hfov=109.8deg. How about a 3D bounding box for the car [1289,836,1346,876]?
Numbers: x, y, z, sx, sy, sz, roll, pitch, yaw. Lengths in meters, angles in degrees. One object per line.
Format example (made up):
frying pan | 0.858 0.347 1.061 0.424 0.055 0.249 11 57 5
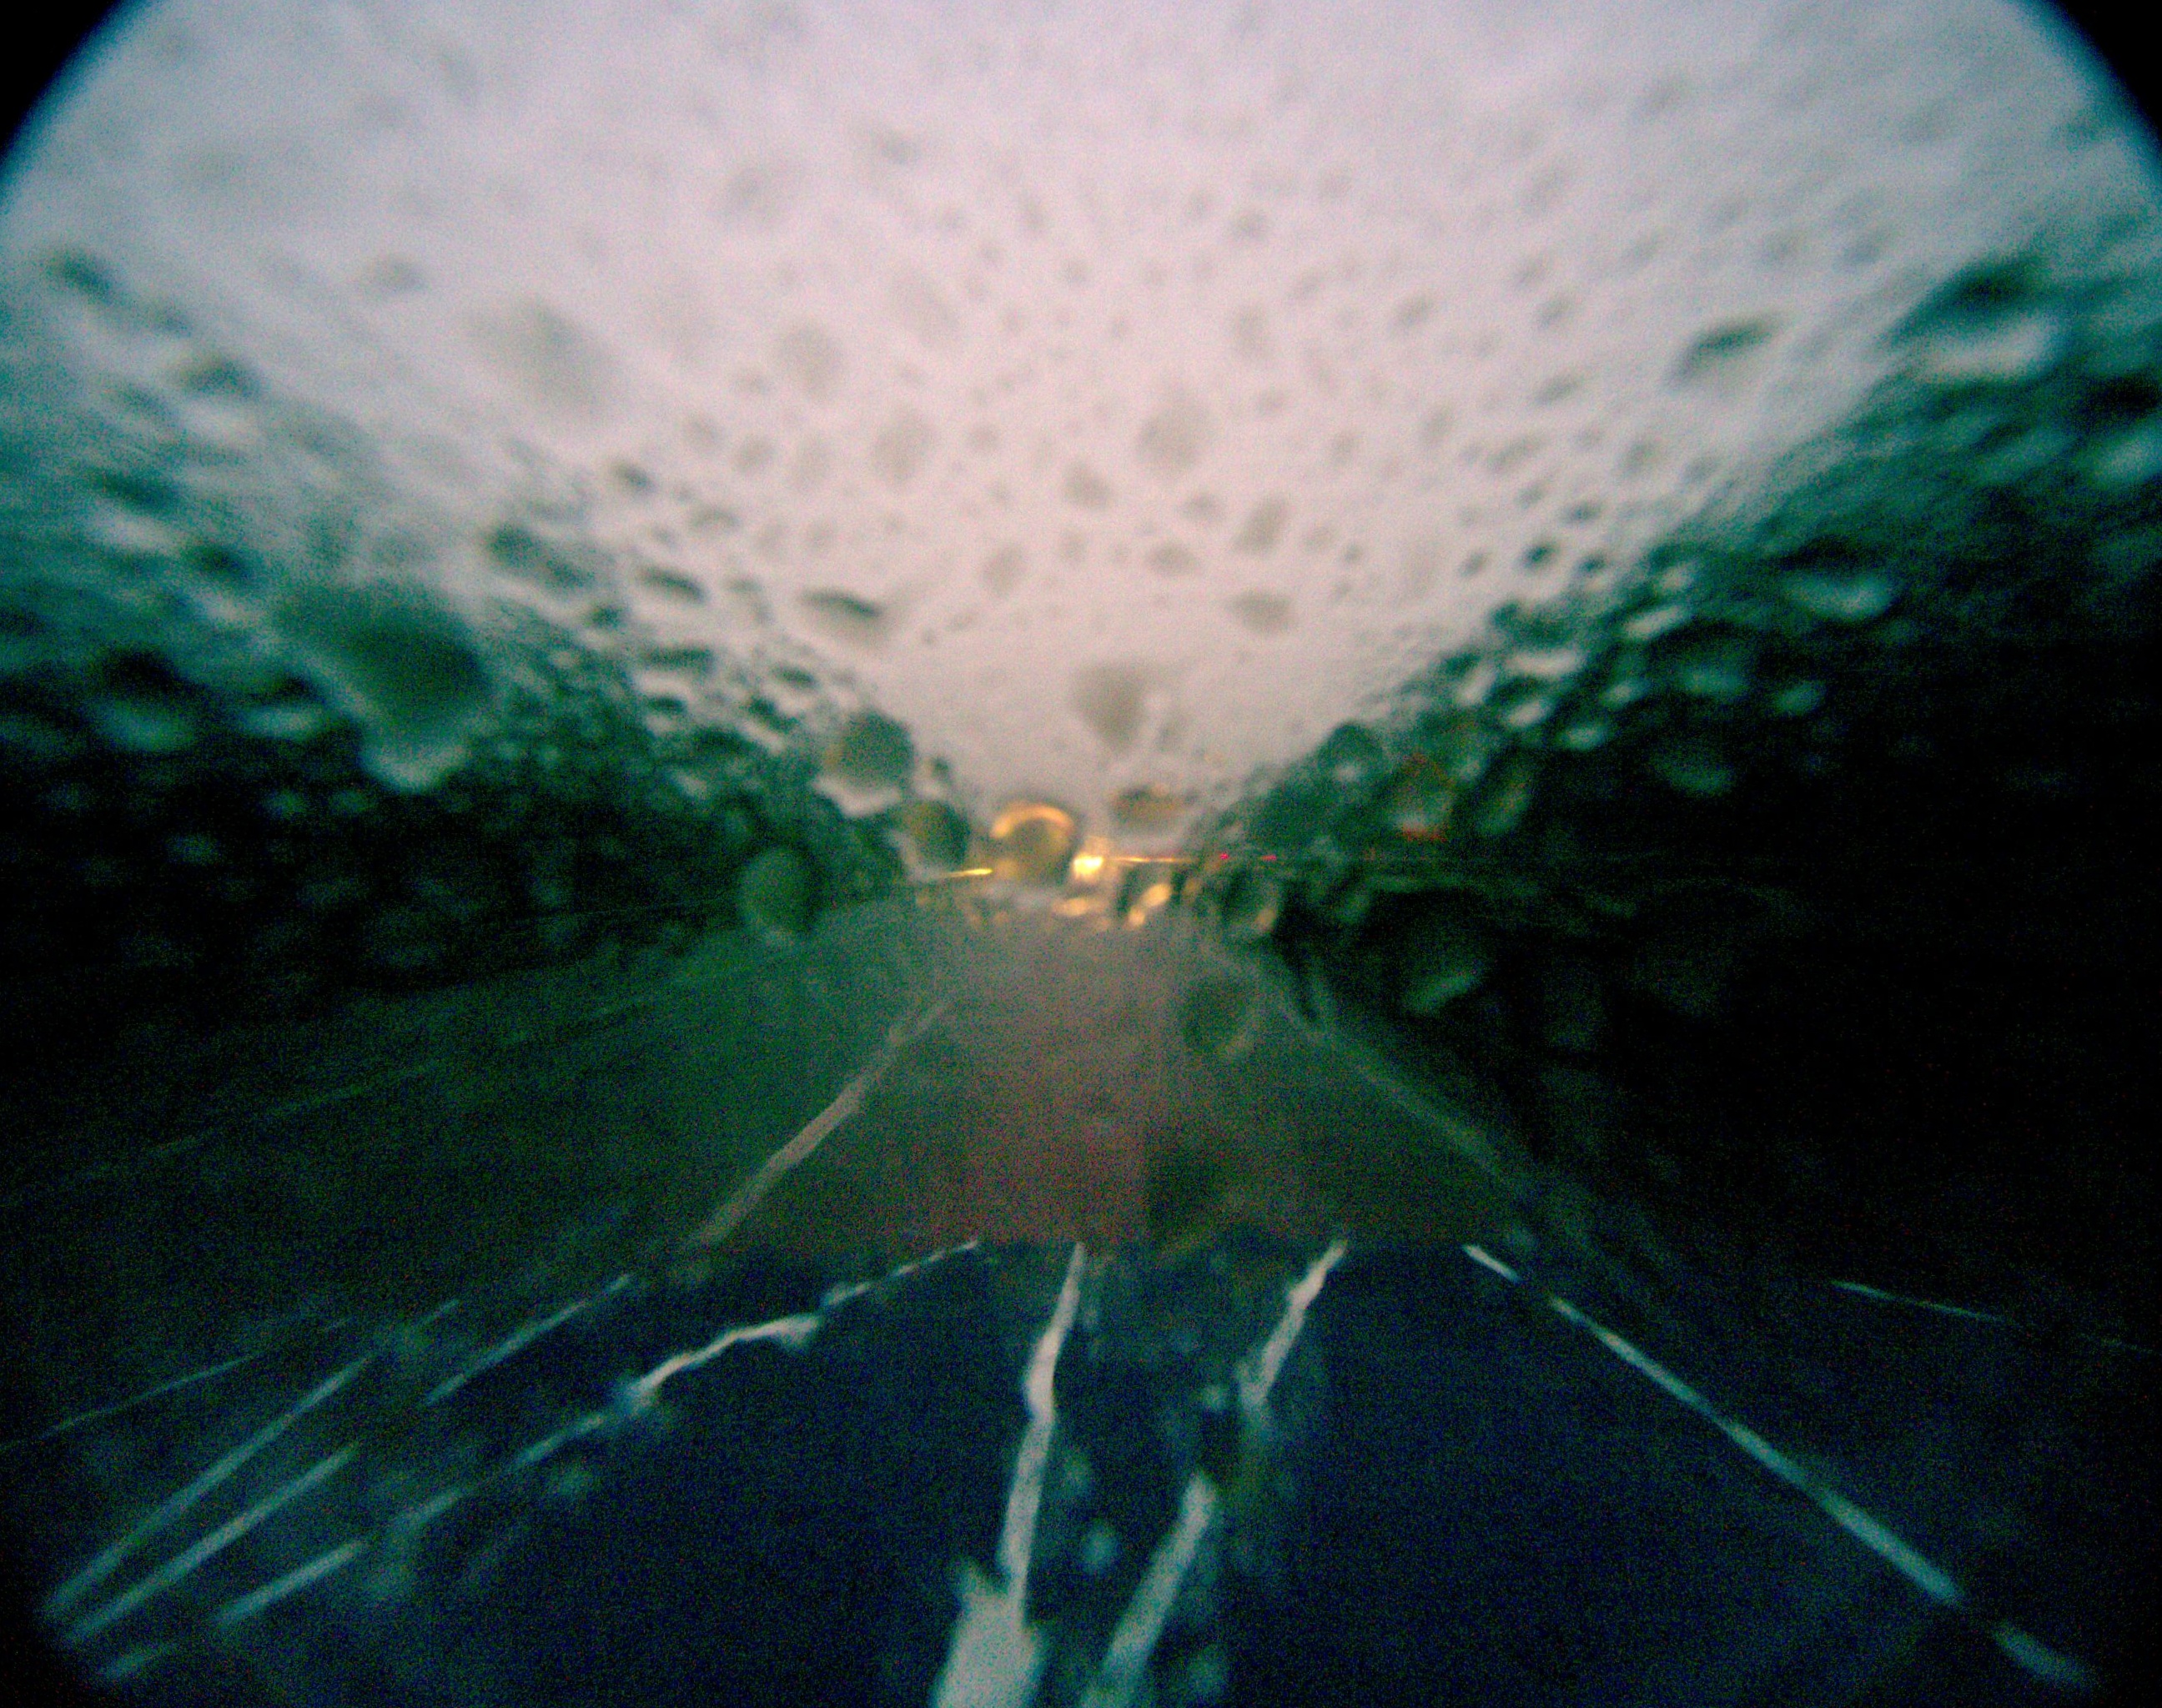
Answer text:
car | 11.948 0.075 38.590 1.635 1.855 3.896 -2 0 0

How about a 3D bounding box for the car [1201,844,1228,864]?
car | 12.483 -0.038 71.357 1.859 1.789 4.000 -2 0 2

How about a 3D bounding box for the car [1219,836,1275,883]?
car | 7.984 0.231 36.931 1.726 2.075 4.519 -2 0 0

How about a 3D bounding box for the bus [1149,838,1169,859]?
bus | 13.827 -1.004 134.968 2.733 3.534 9.088 -2 0 1

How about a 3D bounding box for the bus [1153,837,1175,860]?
bus | 13.641 -0.951 125.767 2.745 3.534 9.155 -2 0 1

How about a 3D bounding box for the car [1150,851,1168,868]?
car | 10.046 0.703 98.257 1.998 2.002 4.729 -2 0 2
